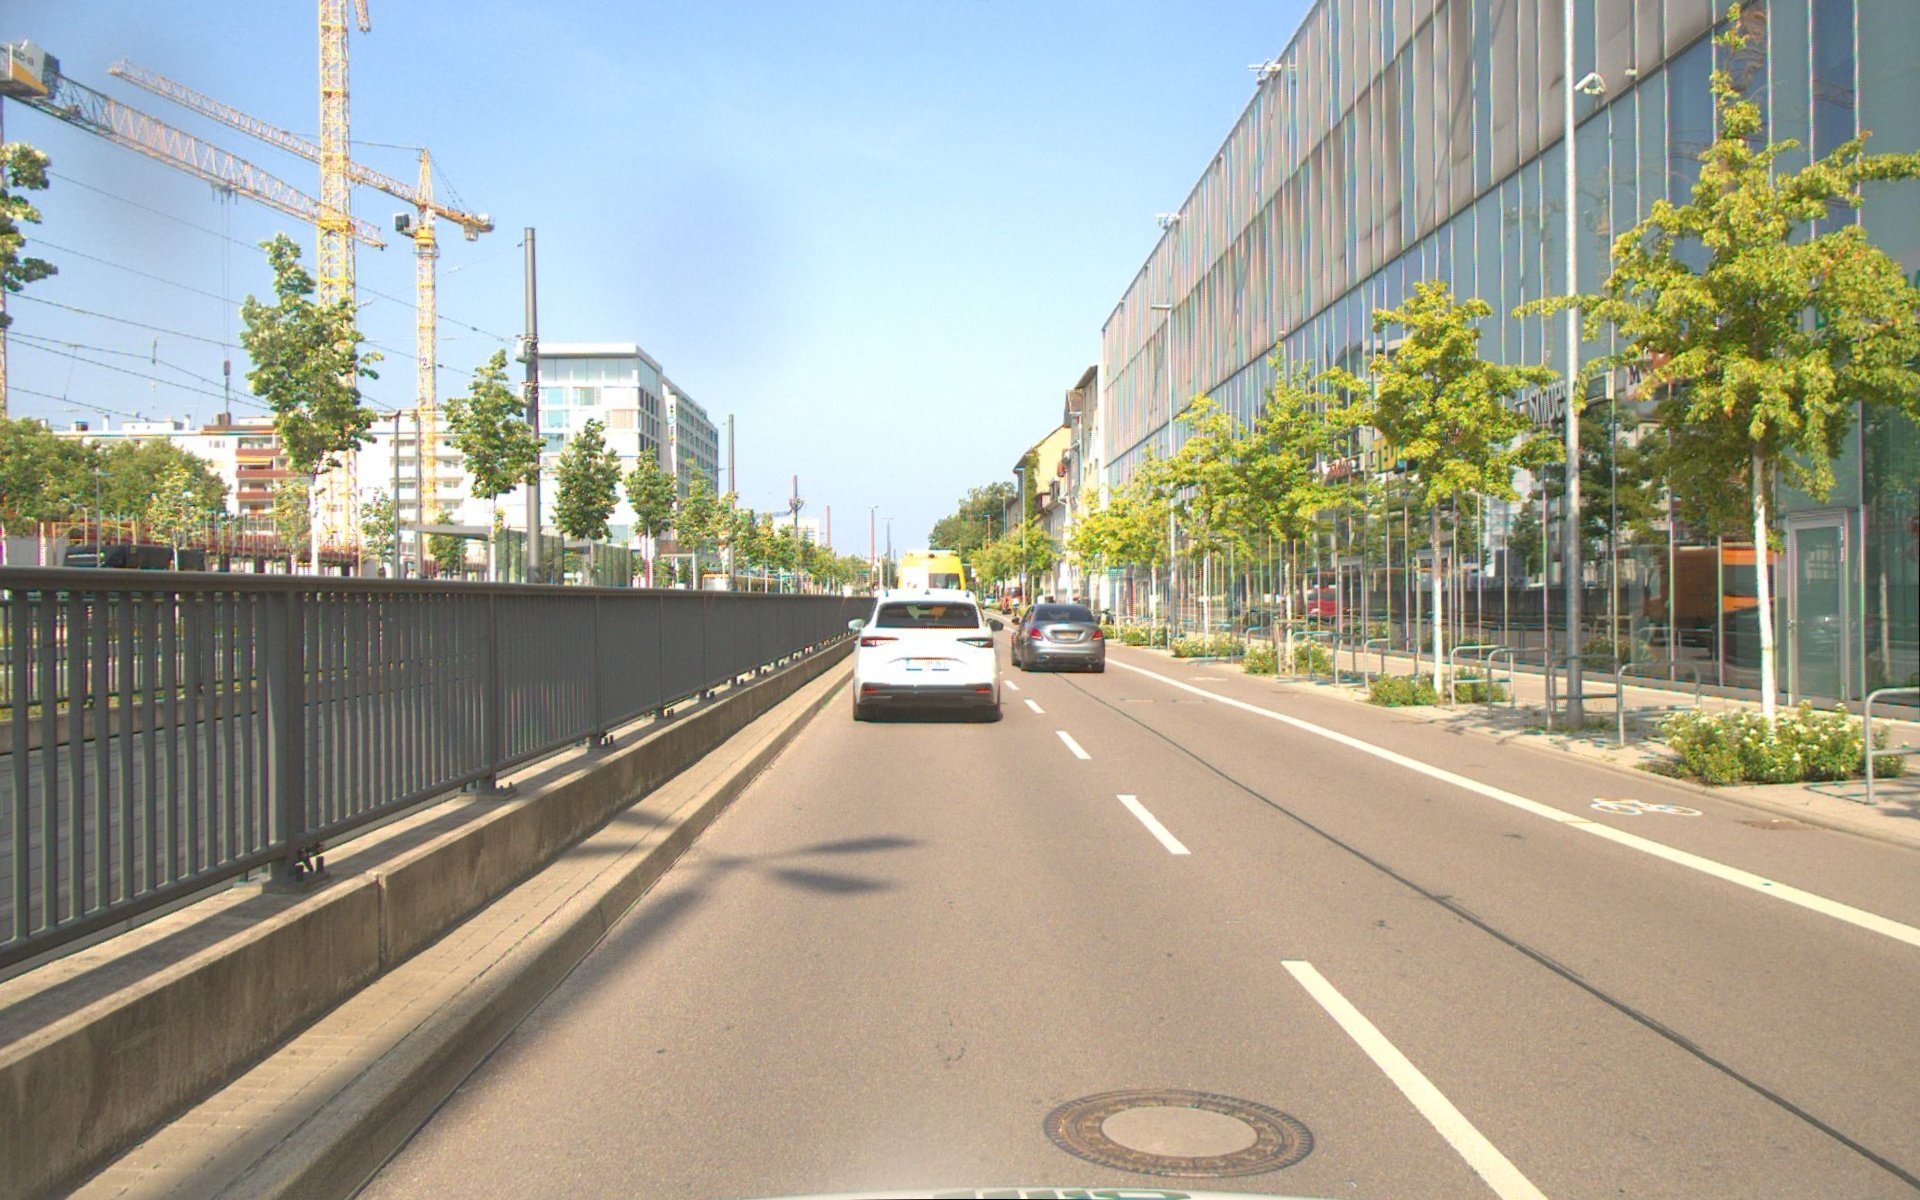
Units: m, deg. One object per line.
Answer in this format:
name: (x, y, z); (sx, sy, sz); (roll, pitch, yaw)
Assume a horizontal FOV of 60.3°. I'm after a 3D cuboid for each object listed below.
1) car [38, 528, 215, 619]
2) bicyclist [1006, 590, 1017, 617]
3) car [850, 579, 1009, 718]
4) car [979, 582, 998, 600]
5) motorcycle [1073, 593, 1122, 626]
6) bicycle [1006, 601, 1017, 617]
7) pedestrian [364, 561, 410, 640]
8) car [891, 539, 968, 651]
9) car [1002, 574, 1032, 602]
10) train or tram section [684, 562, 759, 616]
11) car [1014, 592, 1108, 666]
car: (-34.796, -1.054, 69.528); (2.992, 3.574, 9.231); (0, 0, -2)
bicyclist: (3.098, 0.232, 99.423); (0.626, 1.604, 0.771); (0, 0, 1)
car: (-0.381, 0.549, 21.249); (1.832, 1.602, 3.999); (-1, 0, -1)
car: (2.899, -0.960, 169.553); (1.776, 1.844, 3.835); (0, 1, -2)
motorcycle: (5.944, 0.396, 71.696); (1.934, 1.373, 0.865); (-1, 0, -12)
bicycle: (3.100, 0.539, 99.359); (0.642, 0.955, 1.517); (0, 0, 1)
pedestrian: (-12.118, 0.002, 34.981); (0.721, 1.647, 0.710); (0, 0, -2)
car: (-0.826, -0.215, 45.320); (1.979, 2.844, 5.401); (-1, 2, -1)
car: (4.344, -0.911, 126.191); (2.021, 2.049, 4.587); (-1, 1, -2)
train or tram section: (-18.115, -0.784, 127.134); (2.846, 3.740, 18.138); (1, 0, 1)
car: (2.141, 0.575, 35.932); (1.724, 1.461, 4.114); (1, 1, -1)
